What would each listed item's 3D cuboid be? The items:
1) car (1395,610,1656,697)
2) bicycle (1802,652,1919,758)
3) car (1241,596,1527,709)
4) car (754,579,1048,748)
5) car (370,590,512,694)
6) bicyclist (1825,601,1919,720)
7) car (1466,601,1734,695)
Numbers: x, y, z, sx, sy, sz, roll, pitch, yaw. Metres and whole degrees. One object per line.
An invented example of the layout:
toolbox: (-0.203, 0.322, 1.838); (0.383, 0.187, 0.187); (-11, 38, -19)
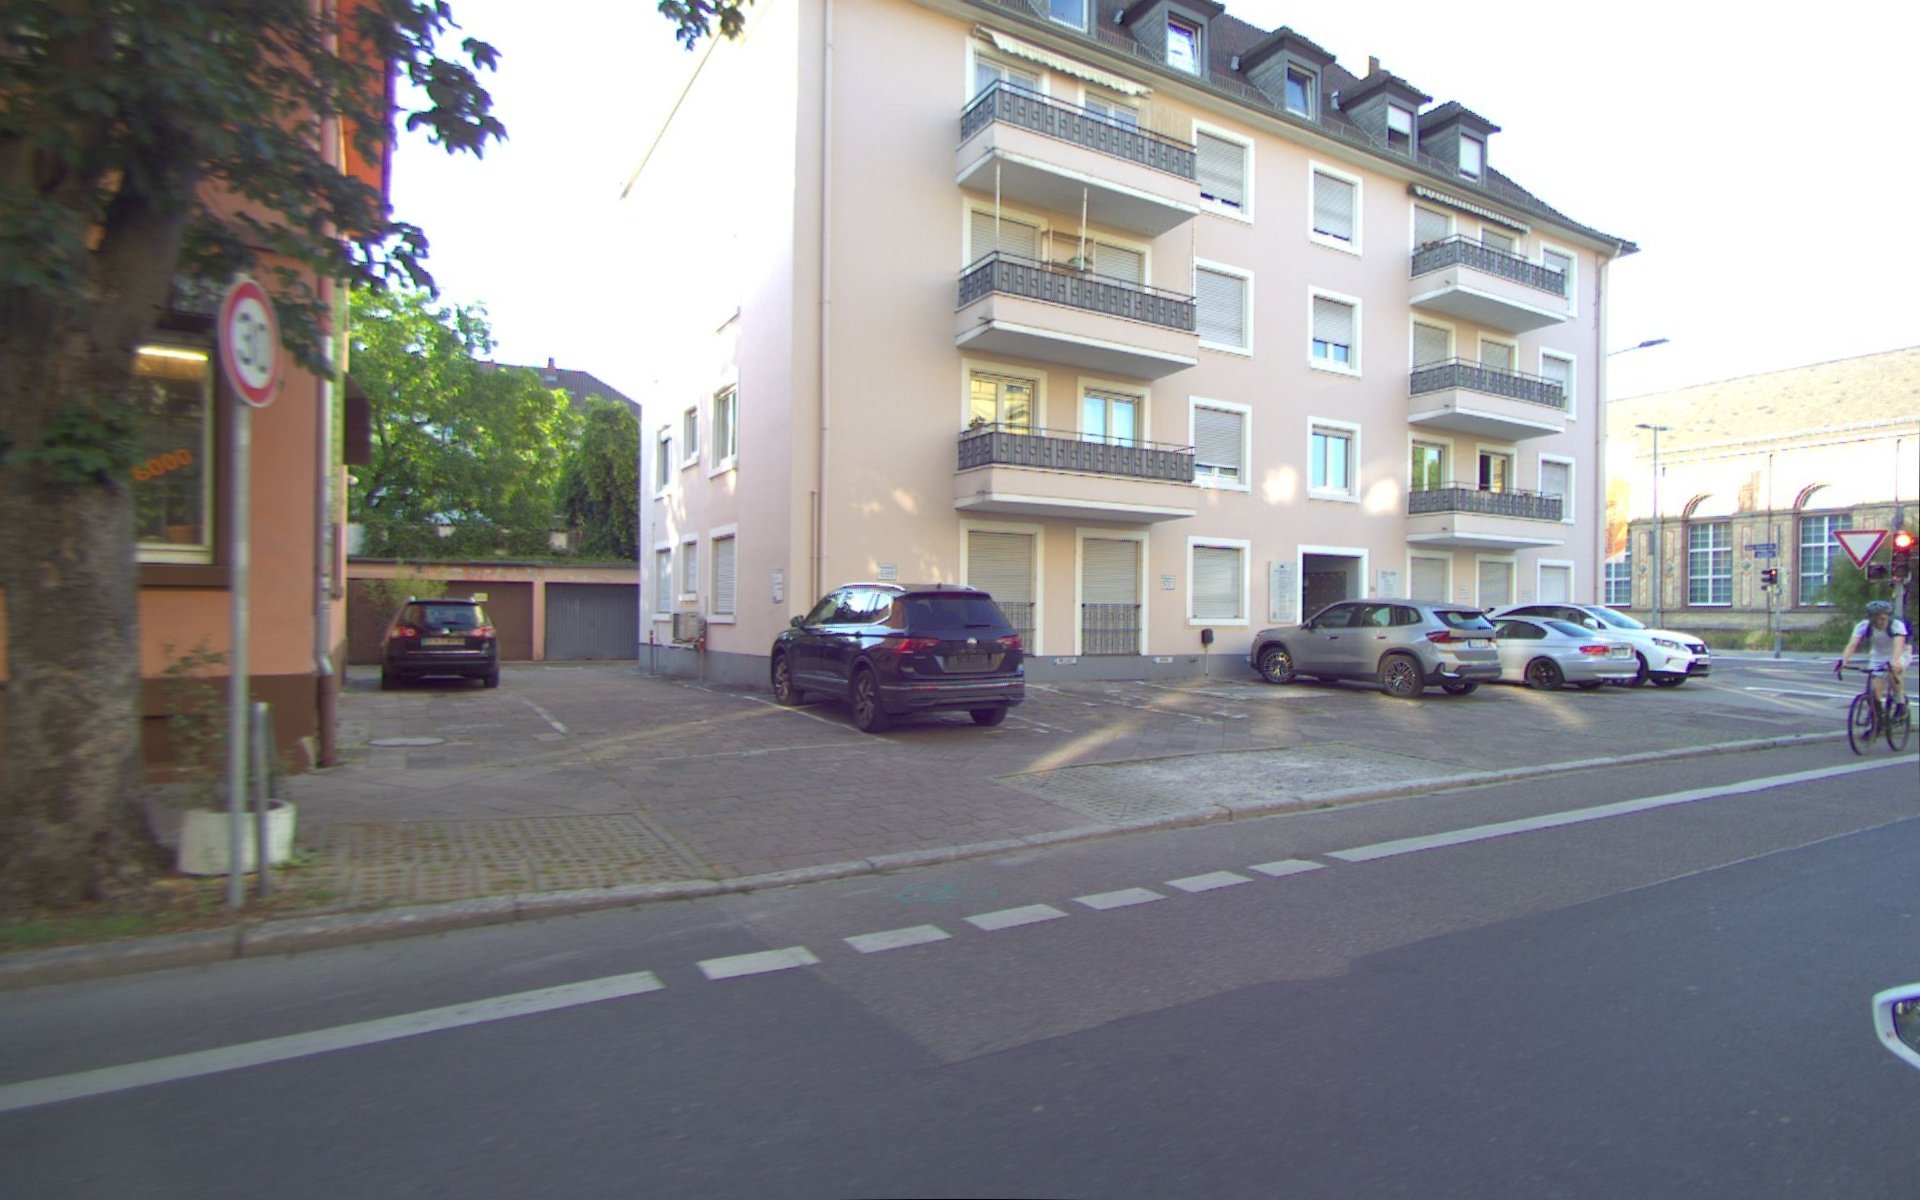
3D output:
car: (11.110, 0.979, 20.056); (1.716, 1.399, 4.244); (1, 1, -31)
bicycle: (11.042, 1.245, 12.183); (2.029, 1.171, 0.622); (3, -1, -31)
car: (7.343, 0.814, 17.867); (1.894, 1.627, 4.395); (1, 1, -31)
car: (-0.952, 0.619, 12.608); (1.843, 1.687, 4.395); (1, 1, -31)
car: (-9.030, 0.652, 17.318); (1.866, 1.576, 3.778); (1, 0, -32)
bicyclist: (11.094, 0.727, 12.202); (0.918, 1.382, 0.622); (3, -1, -30)
car: (13.446, 0.921, 21.407); (1.920, 1.663, 4.417); (1, 1, -31)
